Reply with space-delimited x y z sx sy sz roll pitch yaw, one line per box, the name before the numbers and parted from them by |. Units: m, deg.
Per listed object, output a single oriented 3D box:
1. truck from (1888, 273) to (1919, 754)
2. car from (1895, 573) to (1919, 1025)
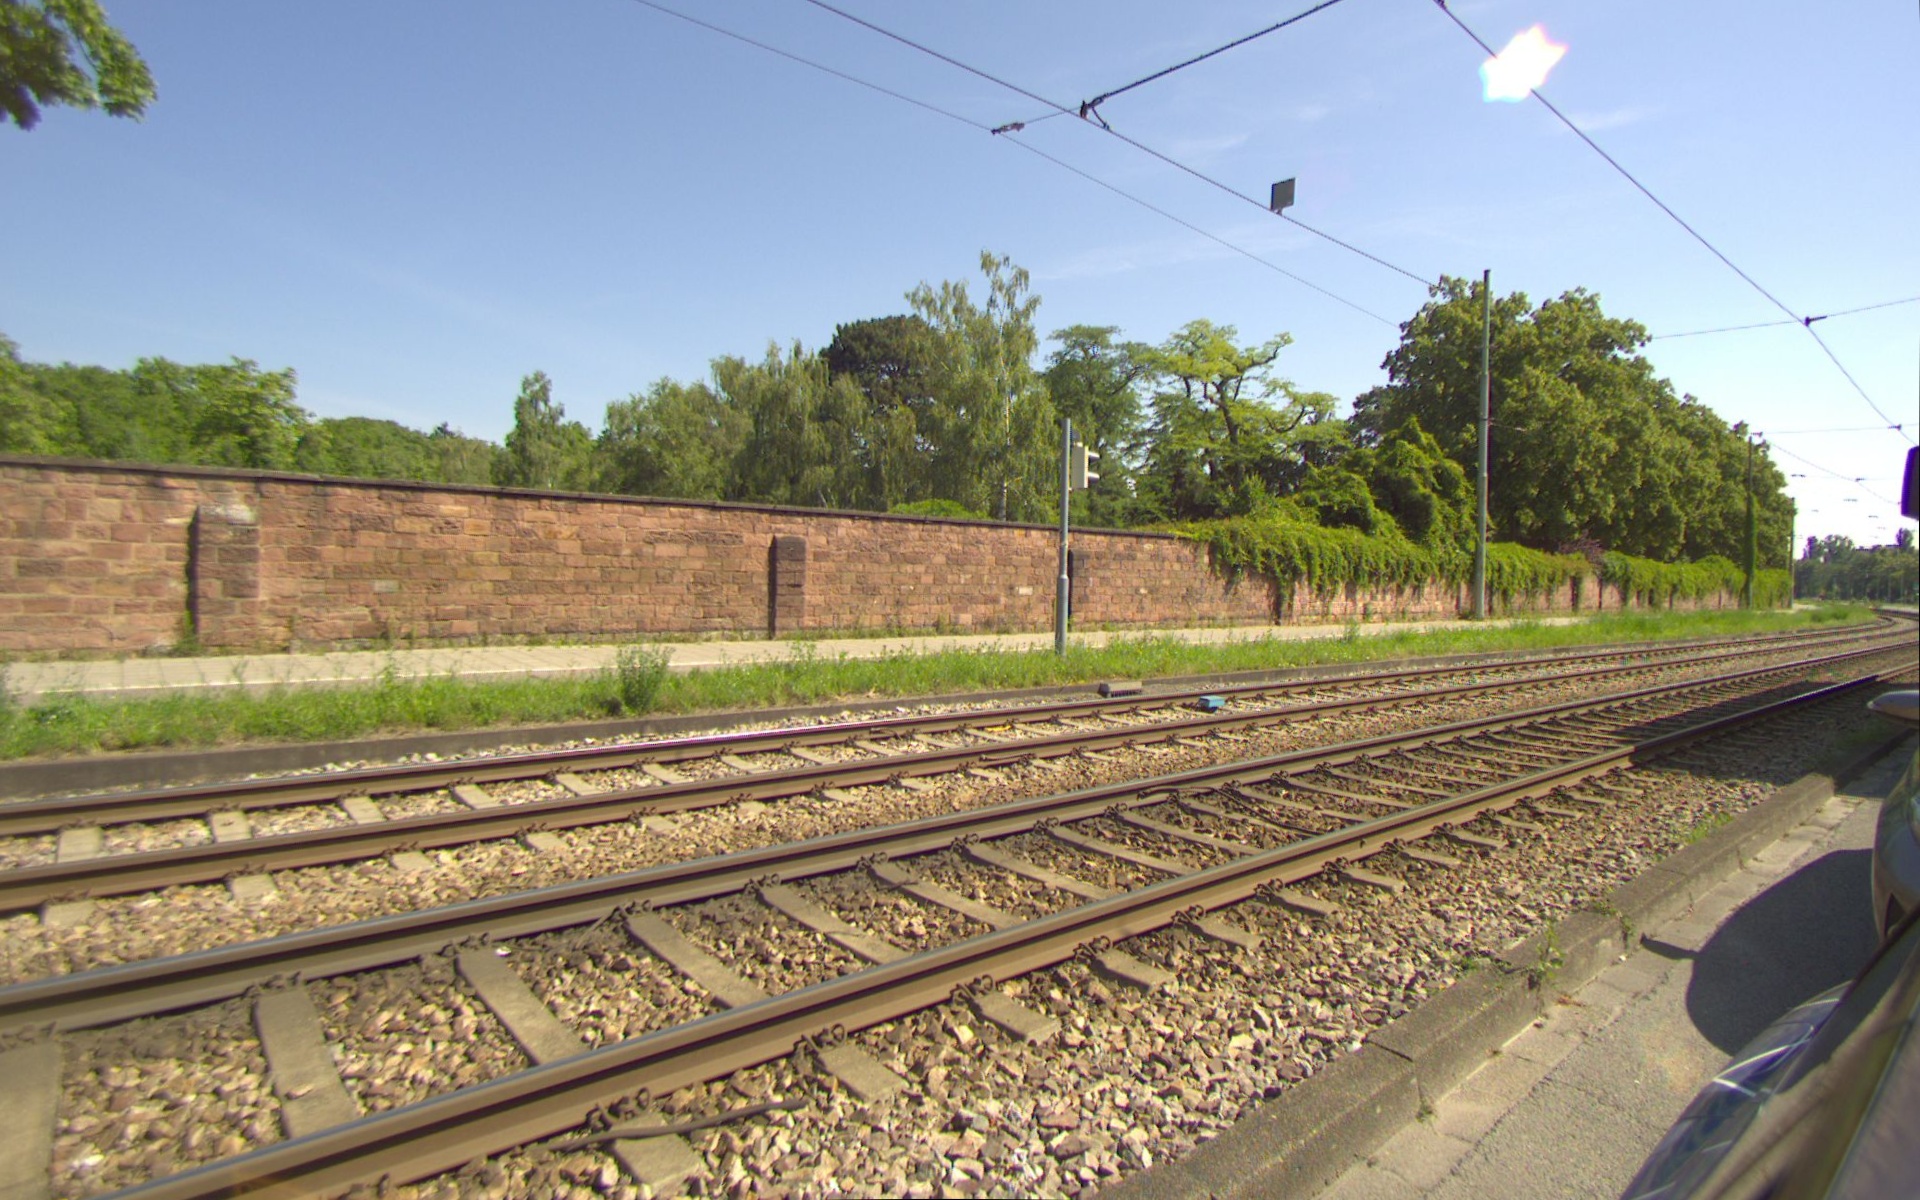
truck | 14.230 -0.658 12.055 14.652 3.927 2.934 0 2 -41
car | 5.046 0.667 3.961 3.930 1.448 1.573 0 2 -41
